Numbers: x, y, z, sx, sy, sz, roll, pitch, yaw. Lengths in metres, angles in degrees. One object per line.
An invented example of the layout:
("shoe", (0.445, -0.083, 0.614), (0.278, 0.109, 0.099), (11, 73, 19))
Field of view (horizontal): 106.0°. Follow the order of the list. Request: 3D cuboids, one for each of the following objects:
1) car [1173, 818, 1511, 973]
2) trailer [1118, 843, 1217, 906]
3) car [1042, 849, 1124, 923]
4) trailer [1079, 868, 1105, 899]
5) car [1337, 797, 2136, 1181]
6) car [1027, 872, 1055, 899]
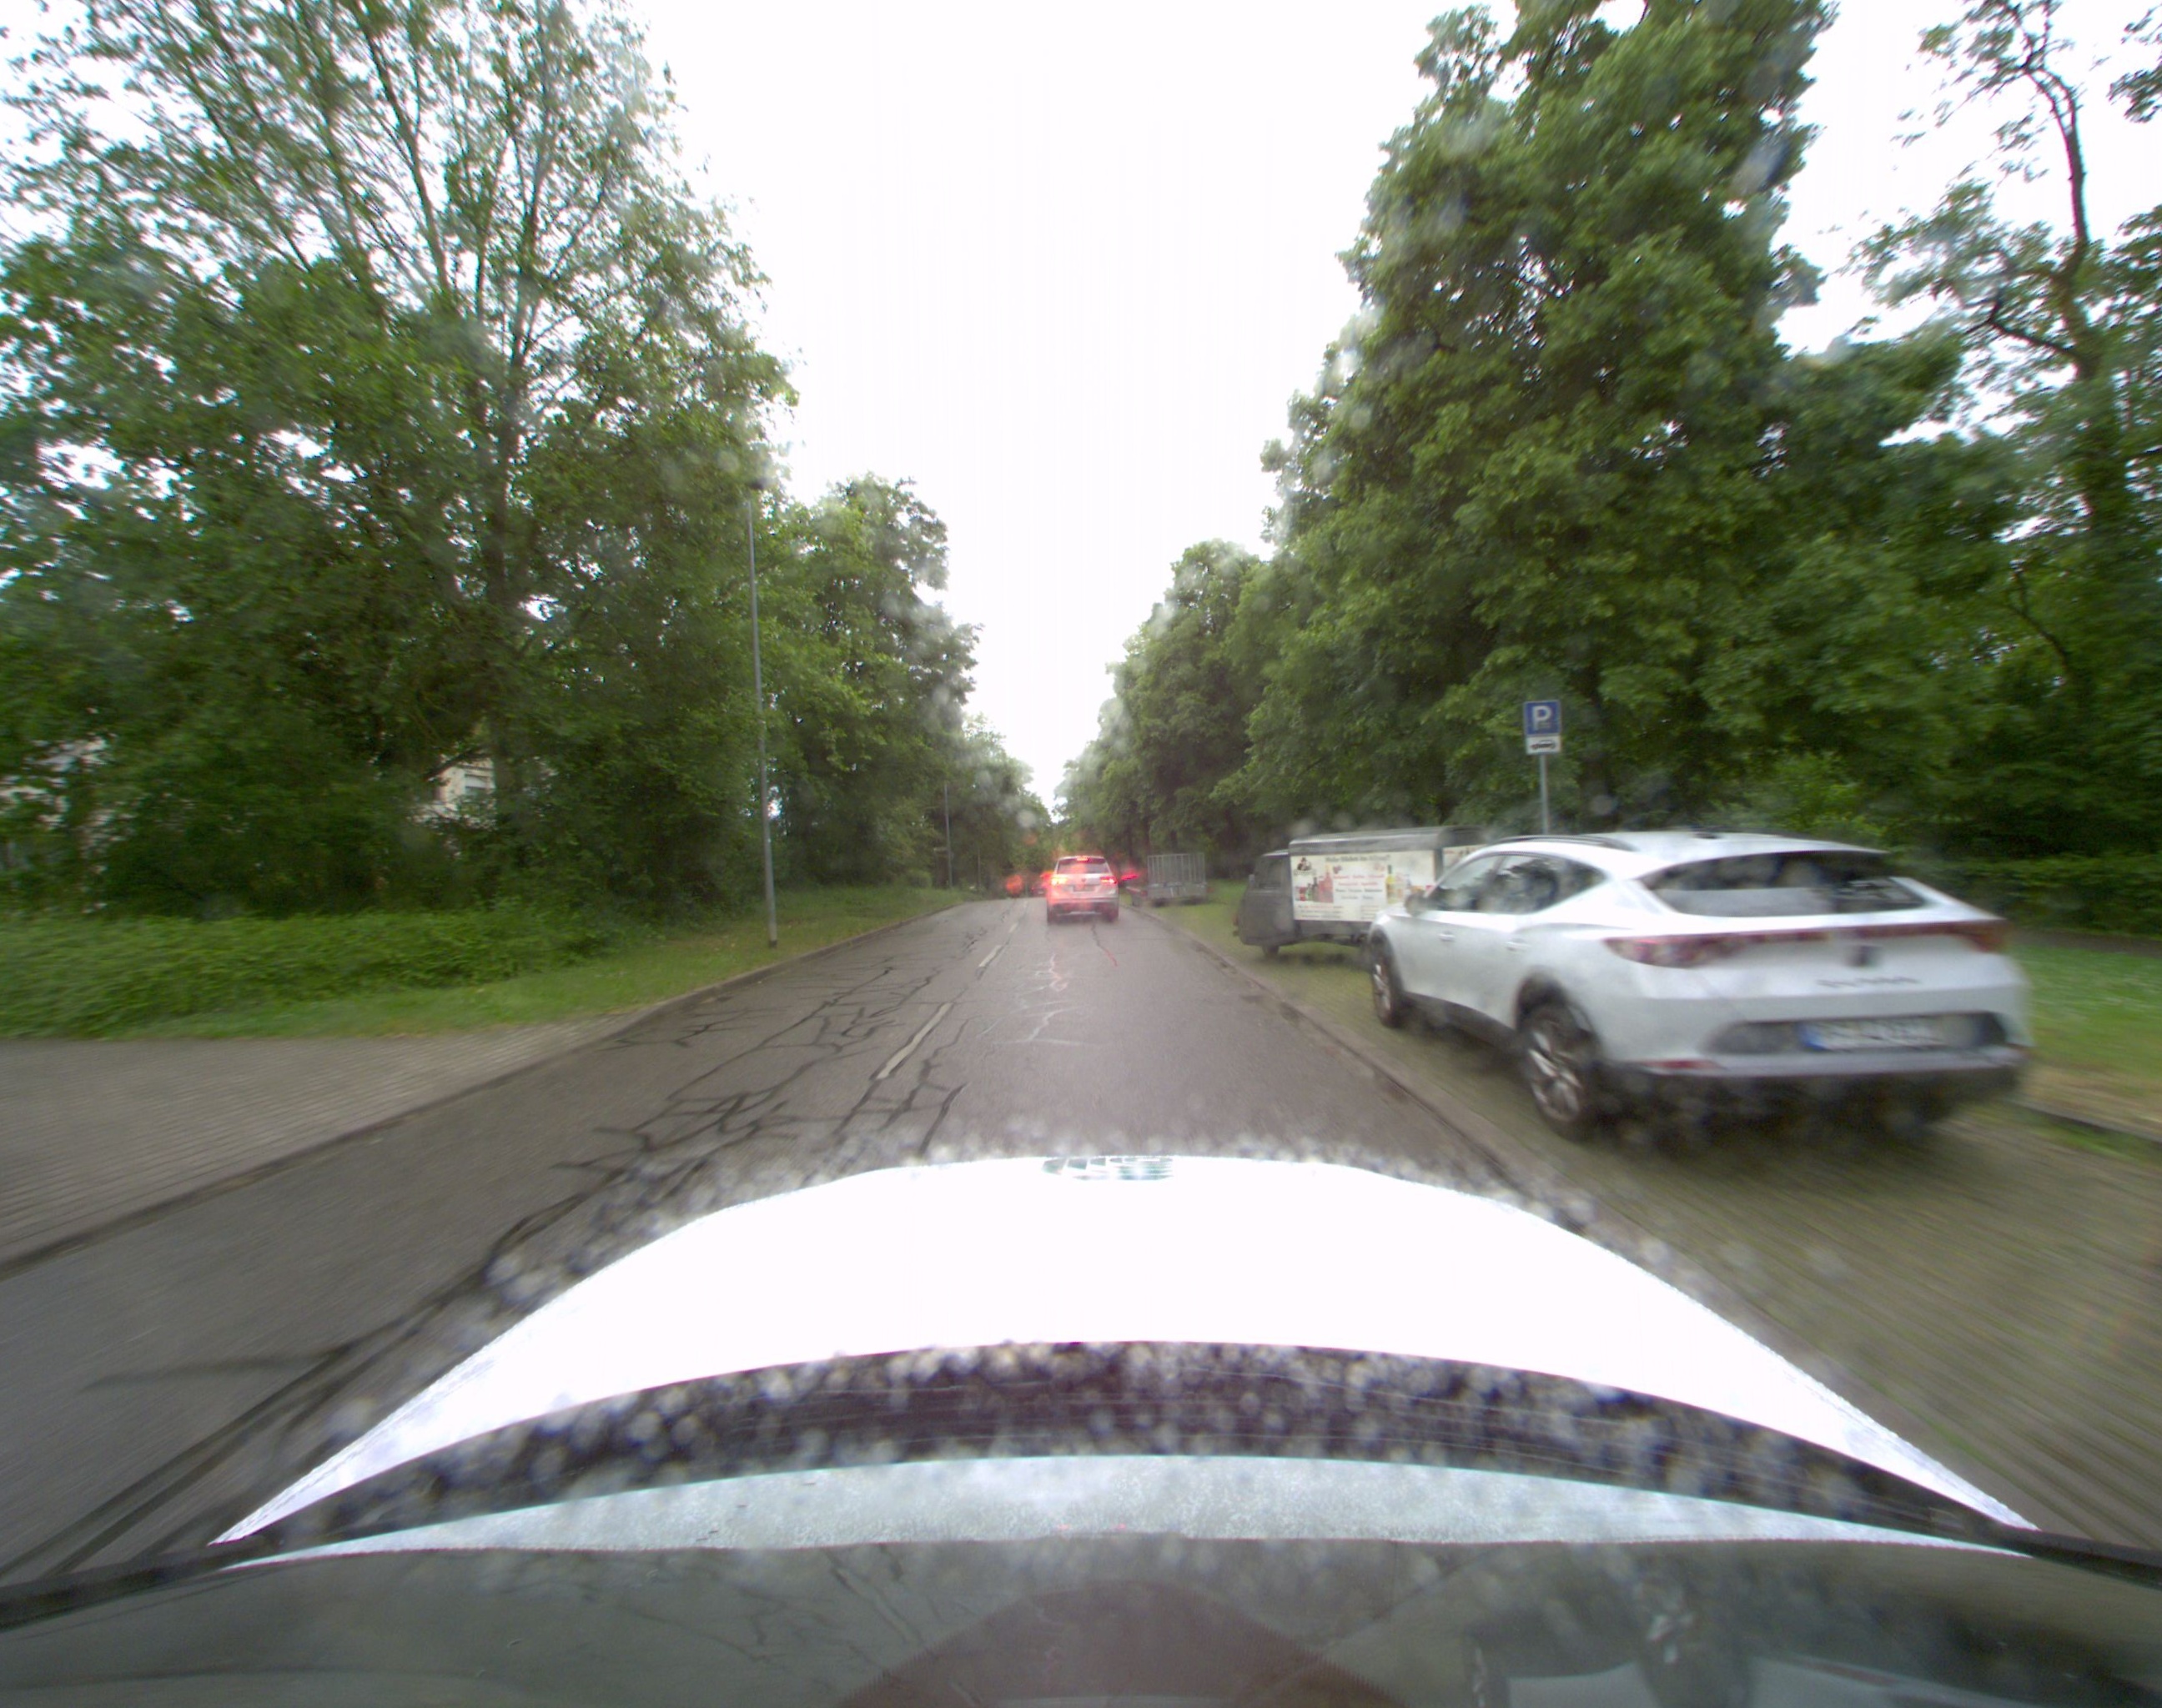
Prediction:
("car", (3.288, 0.543, 10.918), (1.620, 1.681, 3.959), (-3, -1, -41))
("trailer", (2.832, 0.740, 28.304), (2.444, 1.813, 5.884), (-3, -2, -3))
("car", (-0.017, 0.810, 21.861), (1.900, 1.685, 4.197), (-3, -1, -2))
("trailer", (0.765, 2.195, 60.151), (1.527, 2.076, 3.993), (-4, -3, -4))
("car", (3.428, 0.551, 5.667), (1.985, 1.497, 4.570), (-3, 0, 3))
("car", (-3.554, 2.679, 71.109), (1.993, 2.013, 3.989), (-3, 2, -8))
